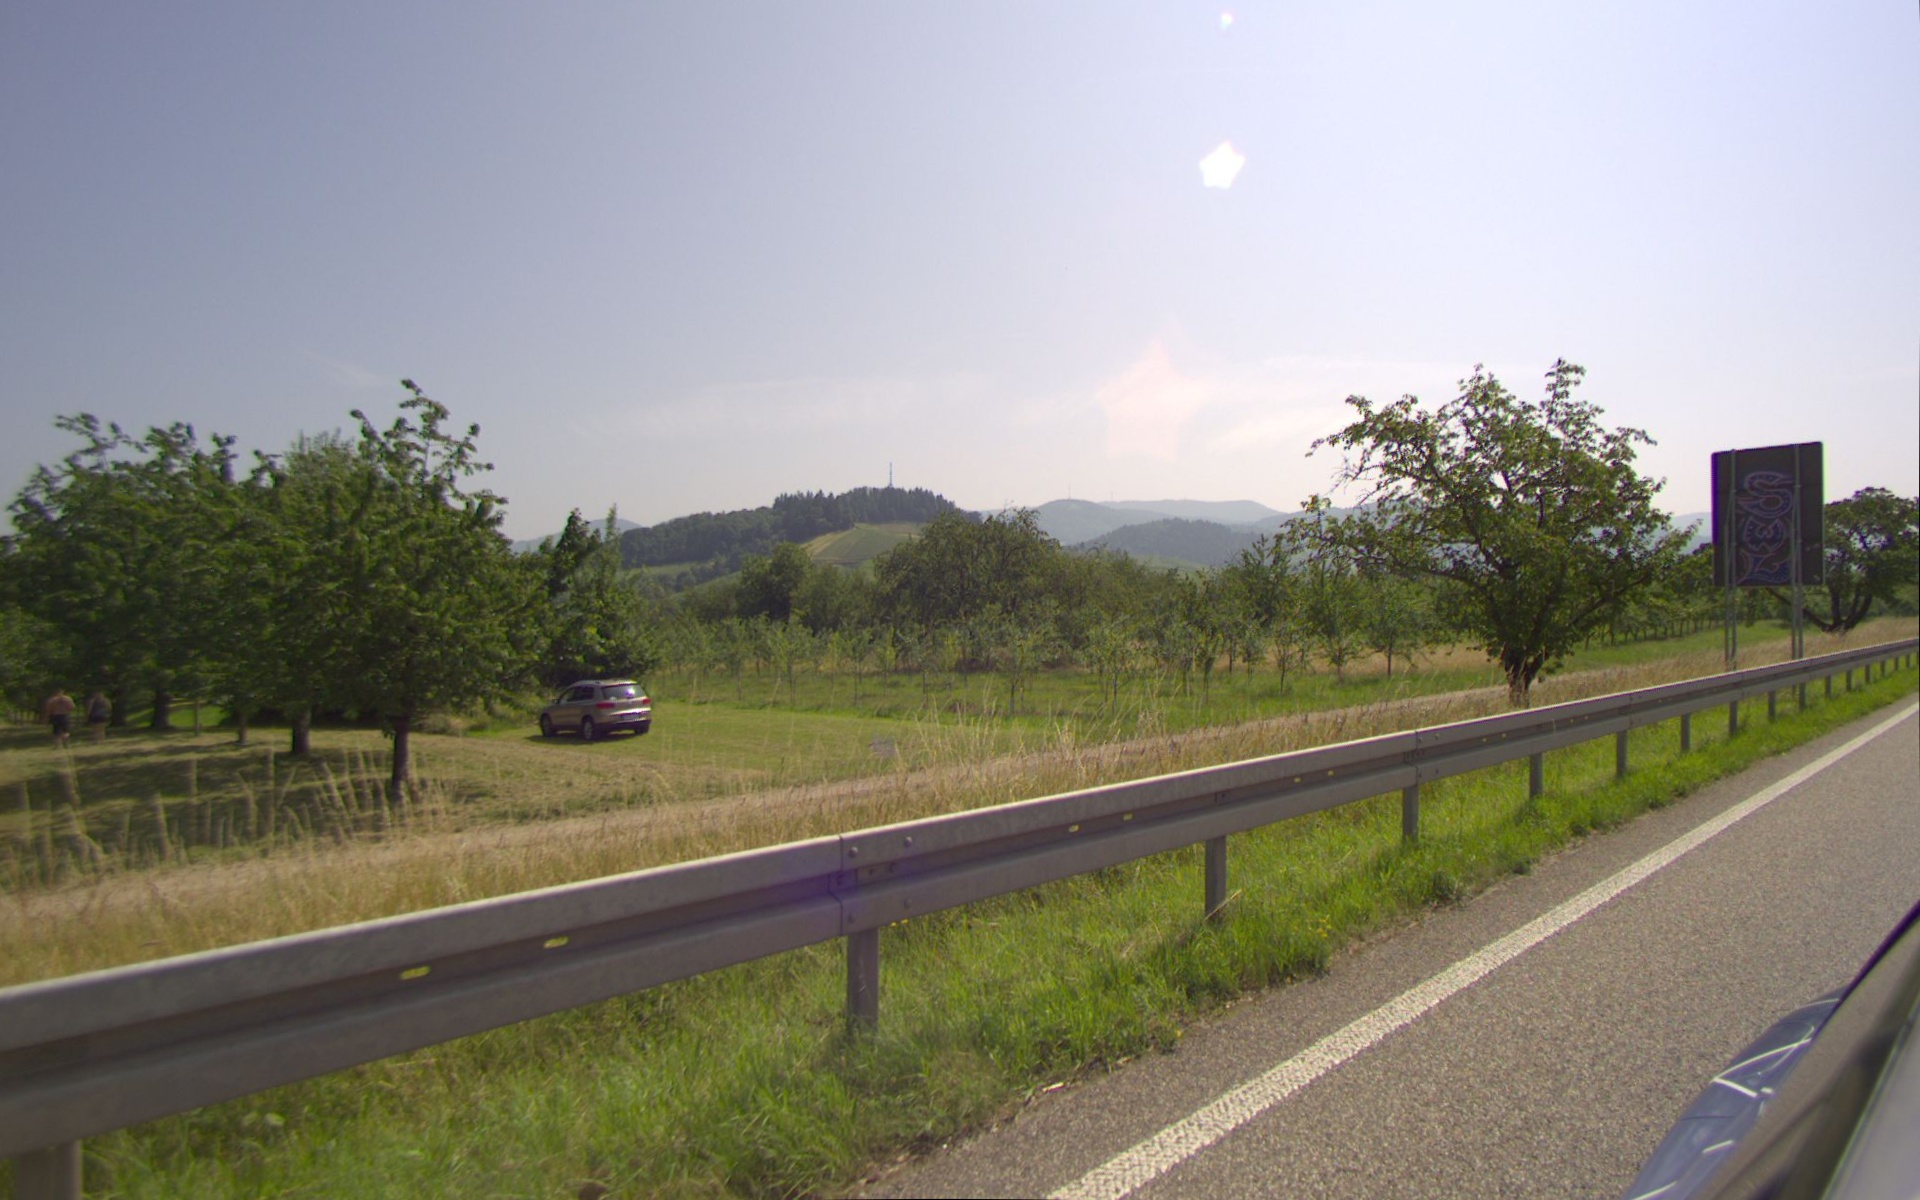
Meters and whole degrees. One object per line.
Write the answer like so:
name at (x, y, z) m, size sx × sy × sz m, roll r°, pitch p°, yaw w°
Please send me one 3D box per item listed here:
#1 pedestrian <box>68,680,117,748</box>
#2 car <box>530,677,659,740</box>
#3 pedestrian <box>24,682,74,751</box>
pedestrian at (-23.501, 3.070, 27.411) m, size 0.927 × 1.668 × 0.781 m, roll -3°, pitch 0°, yaw -43°
car at (-10.650, 3.085, 29.390) m, size 4.075 × 1.554 × 1.829 m, roll -4°, pitch -2°, yaw 42°
pedestrian at (-24.207, 3.081, 26.902) m, size 0.927 × 1.668 × 0.781 m, roll -3°, pitch 0°, yaw -43°
